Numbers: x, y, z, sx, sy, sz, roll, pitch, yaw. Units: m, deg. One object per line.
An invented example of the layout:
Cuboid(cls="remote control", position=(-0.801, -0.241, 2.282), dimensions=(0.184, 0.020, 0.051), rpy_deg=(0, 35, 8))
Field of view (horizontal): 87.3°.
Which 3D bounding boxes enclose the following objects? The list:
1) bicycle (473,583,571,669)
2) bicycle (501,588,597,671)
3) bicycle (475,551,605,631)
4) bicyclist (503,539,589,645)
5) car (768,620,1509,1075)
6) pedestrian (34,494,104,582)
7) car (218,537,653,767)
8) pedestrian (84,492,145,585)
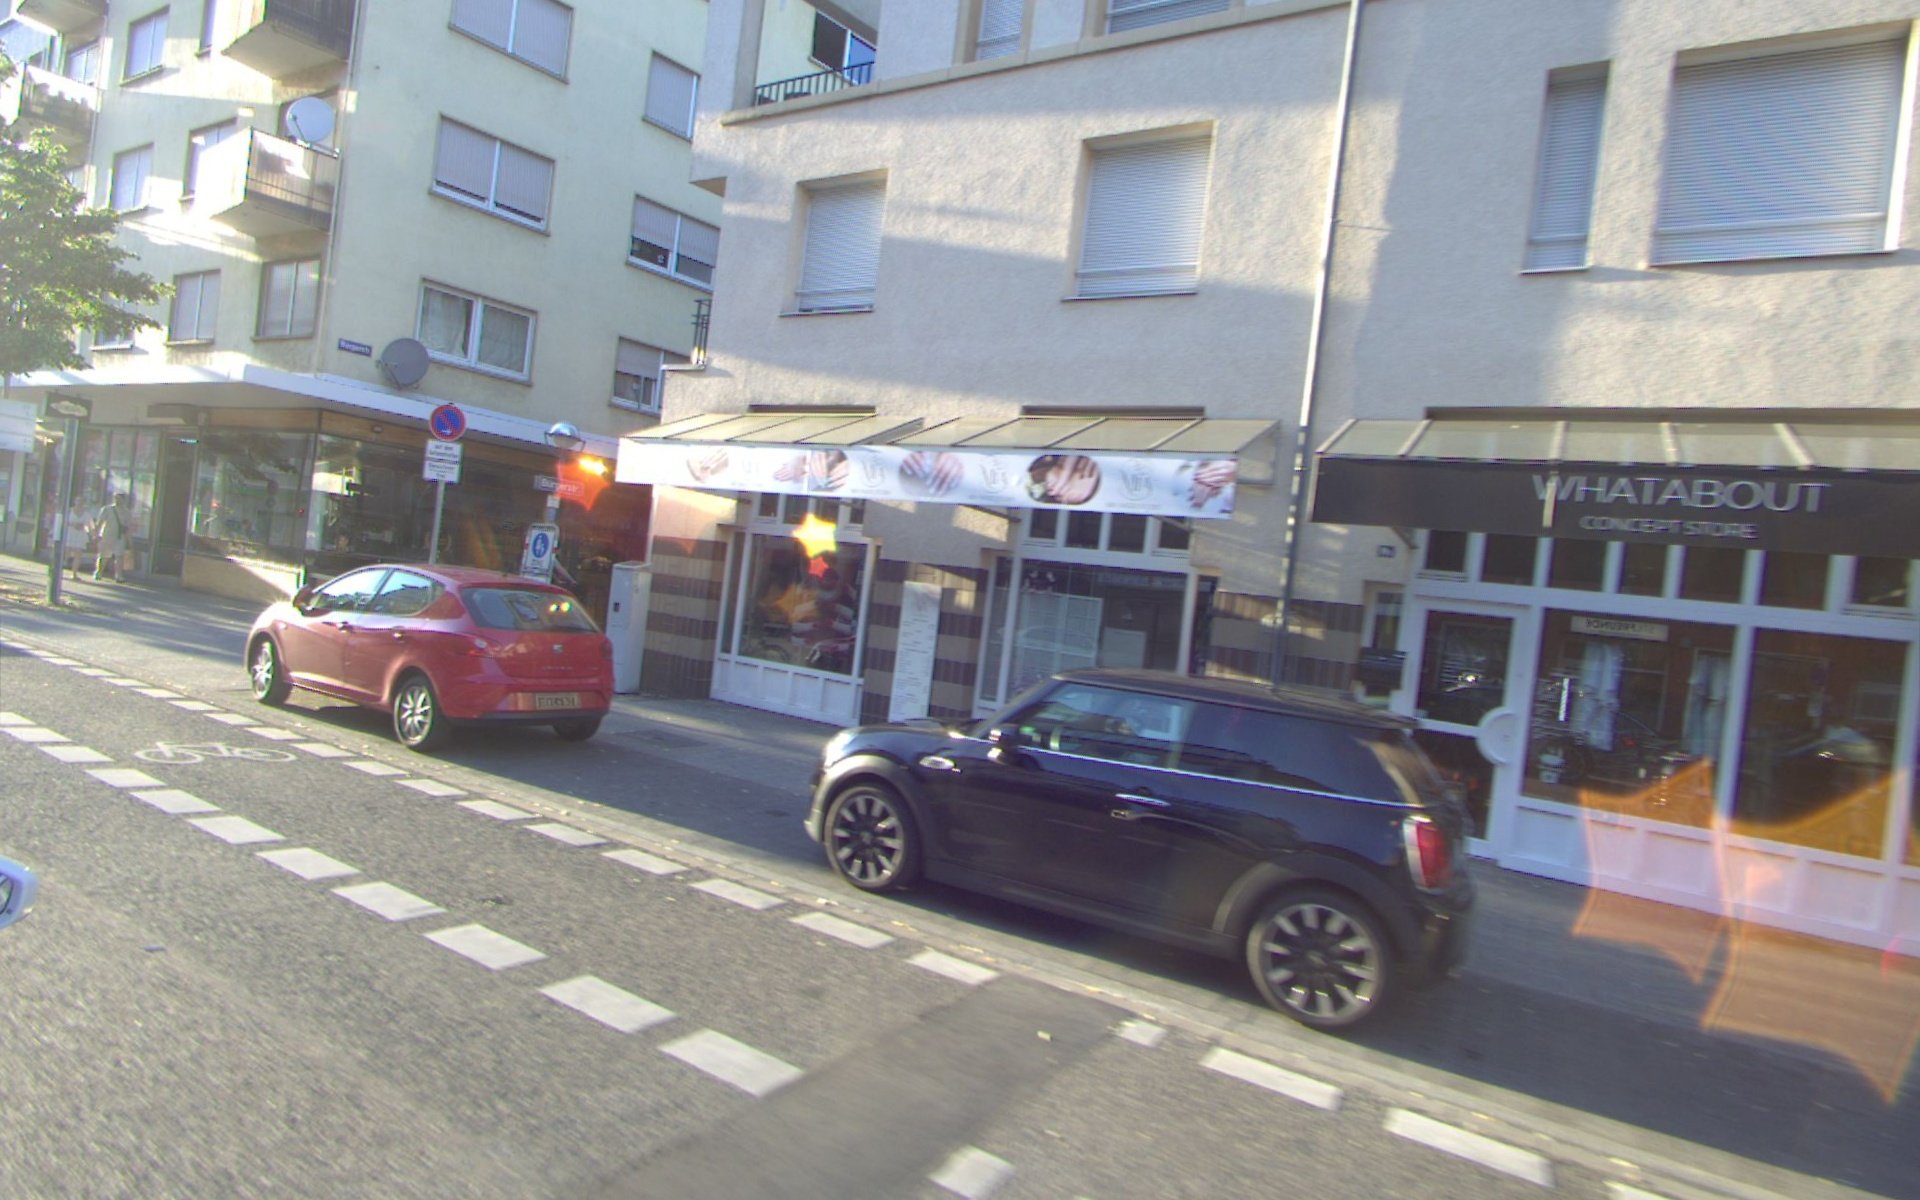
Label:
Cuboid(cls="bicycle", position=(-6.443, 0.369, 14.757), dimensions=(1.688, 1.051, 0.288), rpy_deg=(7, 0, 31))
Cuboid(cls="bicycle", position=(-6.198, 0.429, 15.128), dimensions=(1.688, 1.051, 0.288), rpy_deg=(7, 0, 31))
Cuboid(cls="bicycle", position=(-7.363, -0.136, 17.689), dimensions=(1.919, 1.169, 0.645), rpy_deg=(7, 0, -42))
Cuboid(cls="bicyclist", position=(-7.310, -0.127, 17.761), dimensions=(1.088, 1.723, 0.645), rpy_deg=(7, 0, -42))
Cuboid(cls="car", position=(0.919, 1.076, 5.725), dimensions=(3.695, 1.442, 1.635), rpy_deg=(7, 0, 31))
Cuboid(cls="pedestrian", position=(-17.382, -1.207, 19.630), dimensions=(0.848, 1.578, 0.689), rpy_deg=(7, 0, 31))
Cuboid(cls="car", position=(-4.856, 0.385, 9.185), dimensions=(3.867, 1.454, 1.705), rpy_deg=(7, 0, 32))
Cuboid(cls="pedestrian", position=(-16.881, -1.219, 20.088), dimensions=(0.706, 1.743, 0.687), rpy_deg=(7, 1, 37))
